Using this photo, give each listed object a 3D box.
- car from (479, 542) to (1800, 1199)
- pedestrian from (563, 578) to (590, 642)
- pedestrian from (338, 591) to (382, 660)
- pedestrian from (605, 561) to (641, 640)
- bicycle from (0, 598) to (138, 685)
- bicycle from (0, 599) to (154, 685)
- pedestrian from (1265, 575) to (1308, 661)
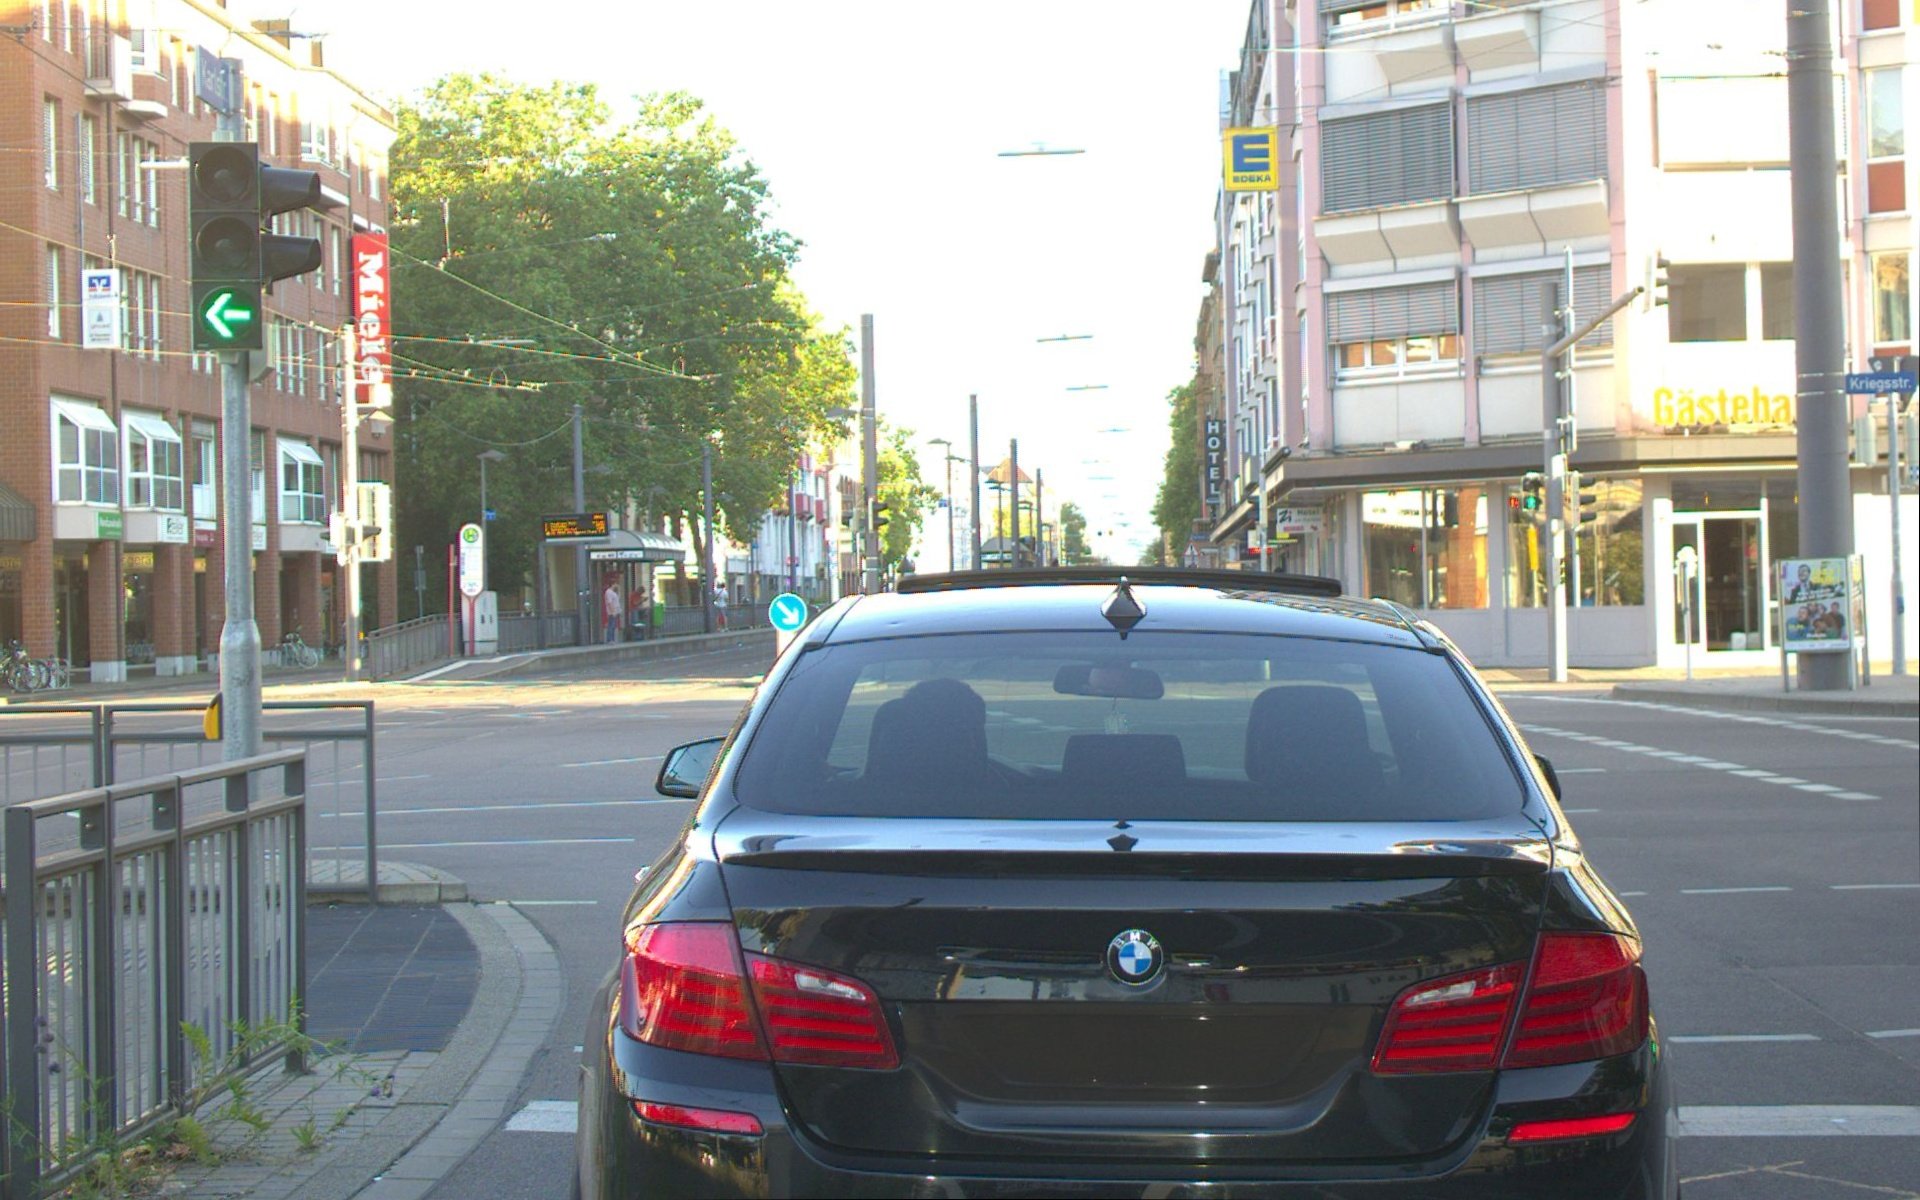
[{"bbox_3d":[0.216,0.666,6.972,1.841,1.490,4.292,1,0,-1],"label":"car"},{"bbox_3d":[-9.917,0.257,89.006,0.584,1.652,0.678,-1,0,0],"label":"pedestrian"},{"bbox_3d":[-17.661,0.751,101.224,1.085,2.007,1.084,-1,0,-2],"label":"pedestrian"},{"bbox_3d":[-8.692,0.002,88.743,0.808,2.007,0.678,-1,0,0],"label":"pedestrian"},{"bbox_3d":[-18.873,0.863,71.391,3.297,1.720,1.069,-1,0,3],"label":"bicycle"},{"bbox_3d":[-18.806,0.884,72.558,3.297,1.720,1.069,-1,0,2],"label":"bicycle"},{"bbox_3d":[6.074,0.335,64.038,0.705,1.543,0.907,0,3,-1],"label":"pedestrian"}]
